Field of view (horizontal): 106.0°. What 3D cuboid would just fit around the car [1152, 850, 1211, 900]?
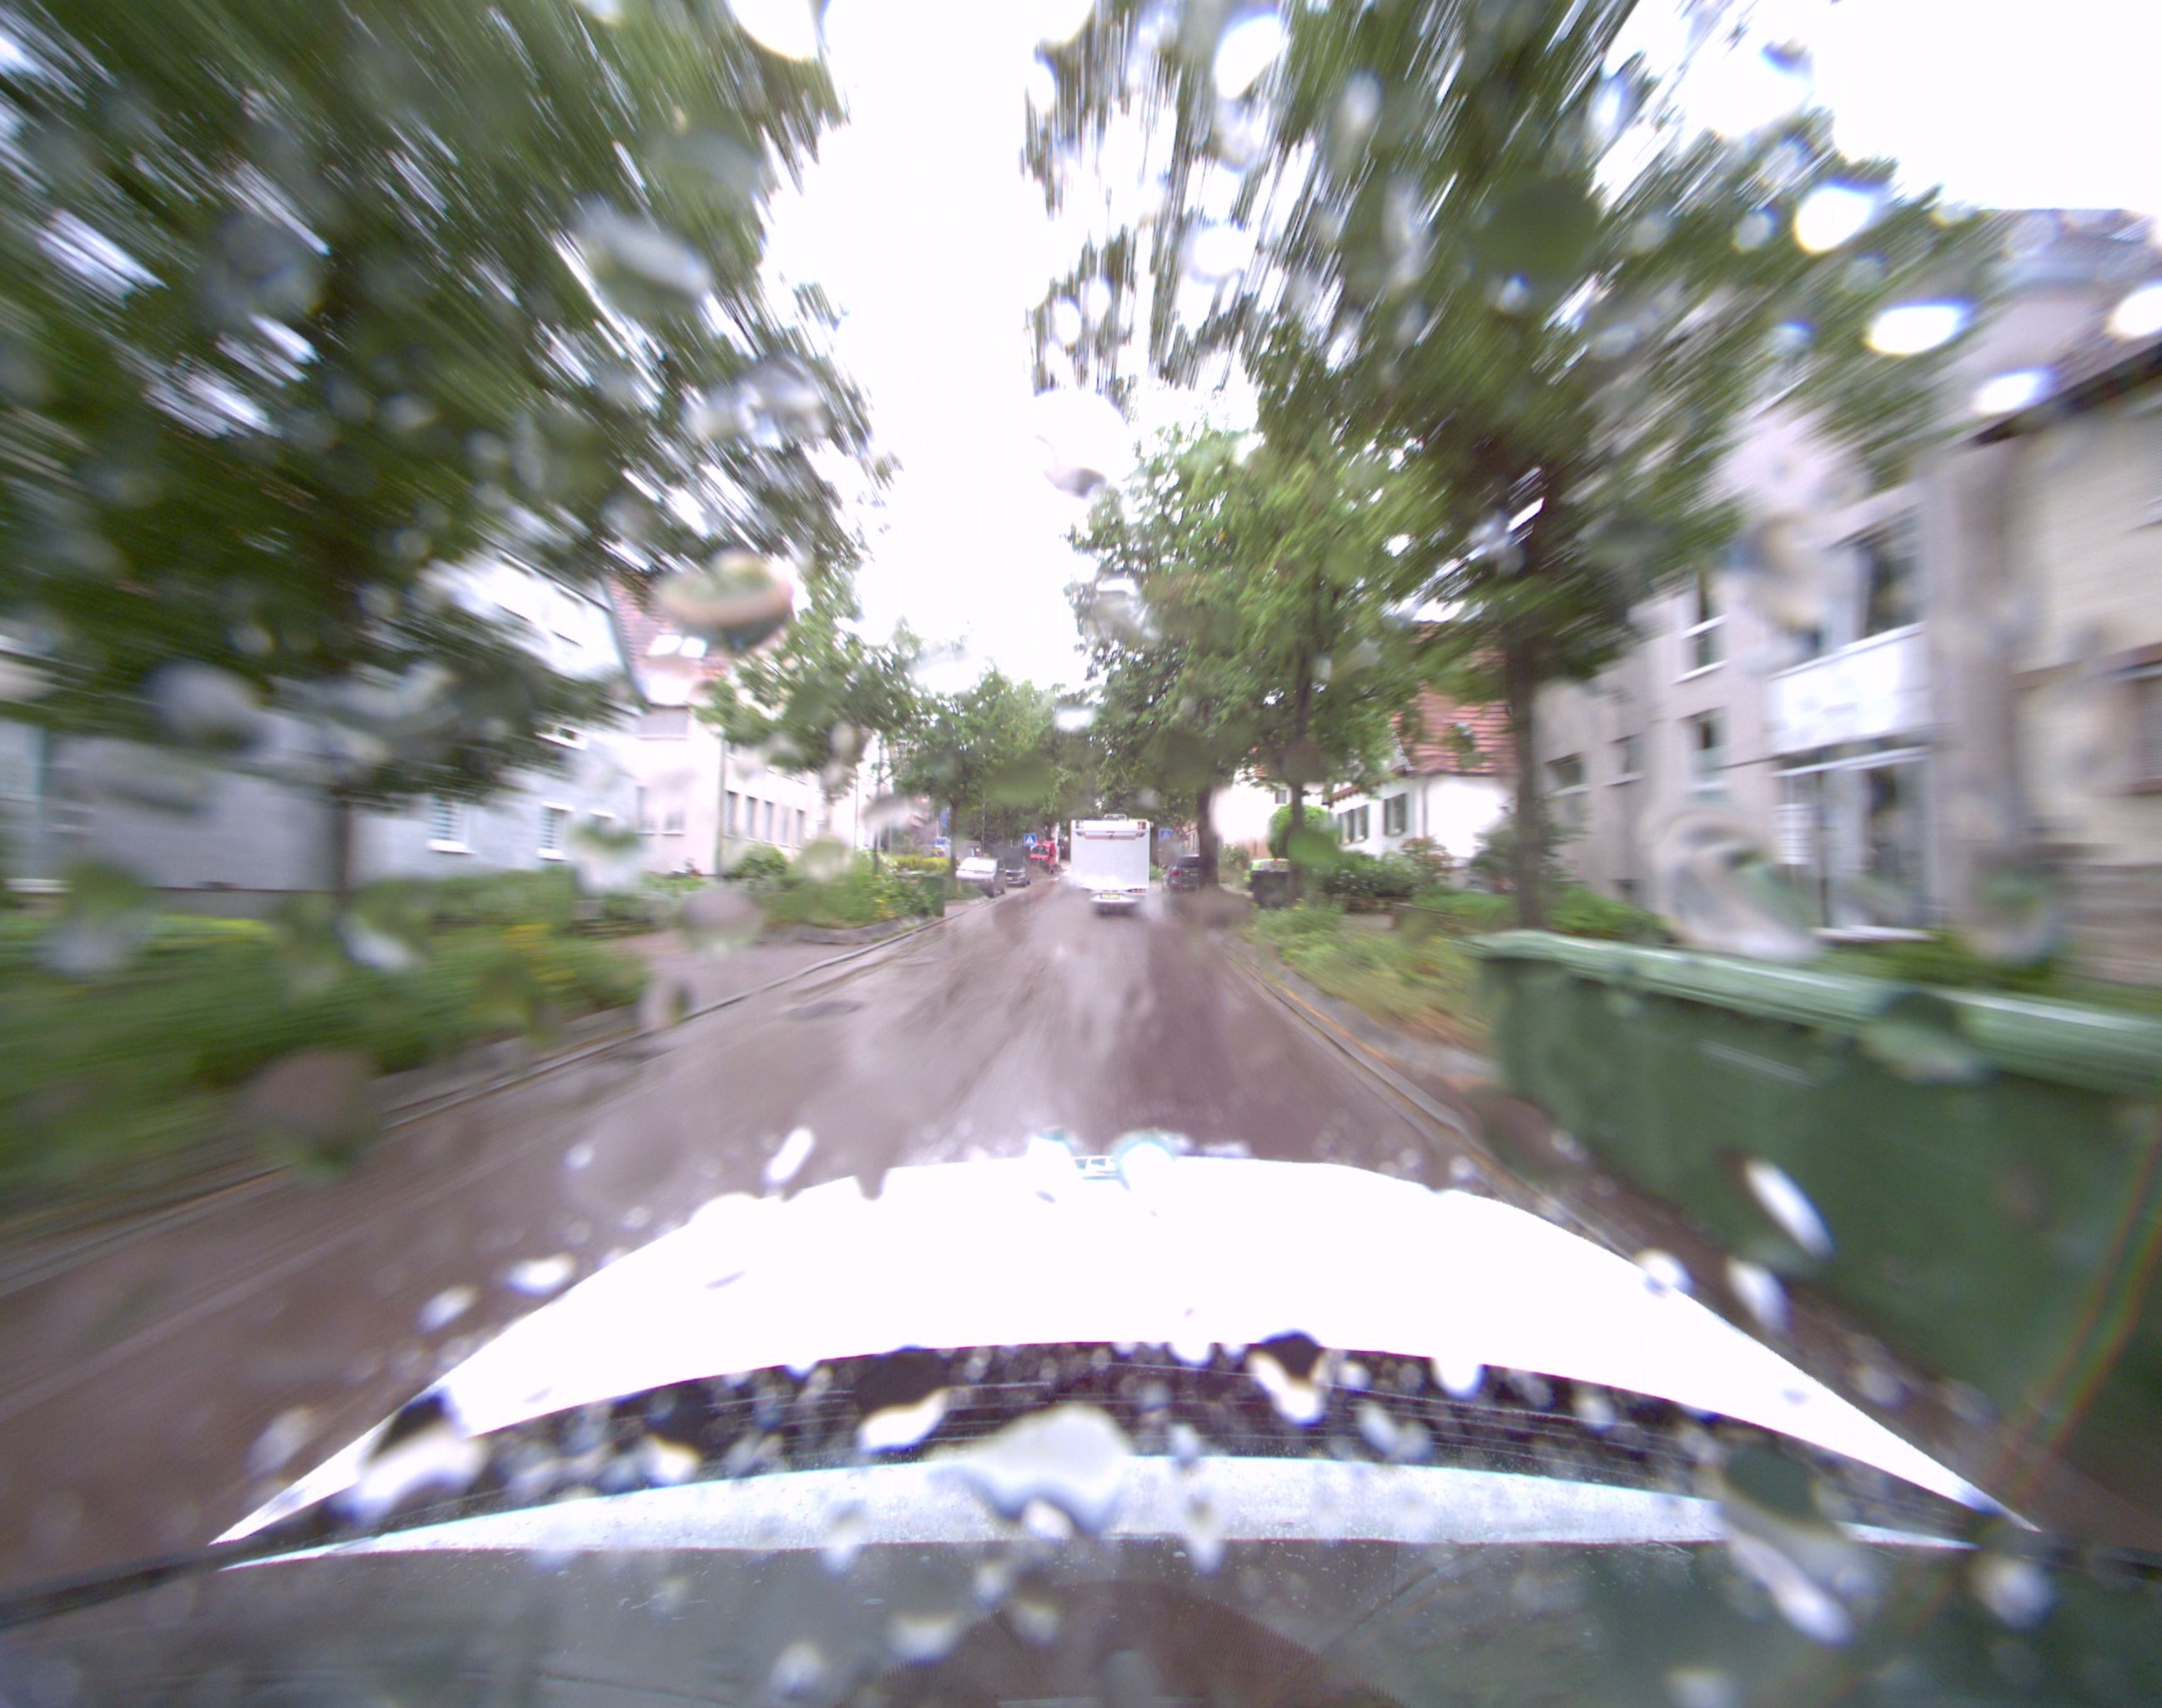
[{"bbox_3d":[3.921,0.788,32.506,1.907,1.792,4.490,1,0,2],"label":"car"}]

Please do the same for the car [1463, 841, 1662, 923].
[{"bbox_3d":[13.651,0.775,23.295,4.446,1.900,2.000,5,-1,0],"label":"car"}]

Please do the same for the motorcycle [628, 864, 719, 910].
[{"bbox_3d":[-10.840,0.866,21.692,1.974,1.162,0.818,1,-1,2],"label":"motorcycle"}]

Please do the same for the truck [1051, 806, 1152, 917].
[{"bbox_3d":[0.675,0.230,25.456,2.684,2.986,6.239,1,-1,2],"label":"truck"}]

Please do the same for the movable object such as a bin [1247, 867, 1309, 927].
[{"bbox_3d":[4.510,0.962,18.719,1.219,1.315,1.135,0,-1,4],"label":"movable object such as a bin"}]

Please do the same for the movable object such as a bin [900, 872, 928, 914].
[{"bbox_3d":[-4.522,1.052,22.039,0.608,1.111,0.565,0,0,3],"label":"movable object such as a bin"}]

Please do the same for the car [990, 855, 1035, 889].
[{"bbox_3d":[-3.489,0.875,41.827,1.765,1.553,4.002,3,0,2],"label":"car"}]

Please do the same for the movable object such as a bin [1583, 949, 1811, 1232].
[{"bbox_3d":[2.664,0.990,3.562,0.608,1.082,0.512,1,-1,-2],"label":"movable object such as a bin"}]

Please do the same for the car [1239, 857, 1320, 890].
[{"bbox_3d":[9.246,0.898,38.129,3.355,1.430,1.630,-1,0,-2],"label":"car"}]

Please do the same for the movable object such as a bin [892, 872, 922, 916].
[{"bbox_3d":[-4.559,1.036,21.371,0.608,1.111,0.565,0,0,3],"label":"movable object such as a bin"}]

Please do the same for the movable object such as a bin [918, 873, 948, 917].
[{"bbox_3d":[-3.814,1.047,21.070,0.640,1.111,0.536,0,0,3],"label":"movable object such as a bin"}]

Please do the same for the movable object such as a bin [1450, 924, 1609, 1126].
[{"bbox_3d":[2.648,0.984,4.851,0.642,1.082,0.540,1,-1,-2],"label":"movable object such as a bin"}]

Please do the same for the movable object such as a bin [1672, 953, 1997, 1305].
[{"bbox_3d":[2.673,0.933,2.944,0.686,1.082,0.540,1,-1,-2],"label":"movable object such as a bin"}]

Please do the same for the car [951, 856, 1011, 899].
[{"bbox_3d":[-3.945,0.891,32.622,1.640,1.533,3.869,2,0,4],"label":"car"}]

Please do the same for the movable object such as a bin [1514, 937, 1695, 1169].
[{"bbox_3d":[2.687,1.000,4.220,0.629,1.082,0.471,1,-1,-2],"label":"movable object such as a bin"}]

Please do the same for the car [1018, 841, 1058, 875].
[{"bbox_3d":[-3.202,0.254,61.989,2.293,2.483,5.792,1,1,5],"label":"car"}]

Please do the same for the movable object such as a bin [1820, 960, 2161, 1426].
[{"bbox_3d":[2.675,0.880,2.303,0.686,1.082,0.540,1,-1,-2],"label":"movable object such as a bin"}]
